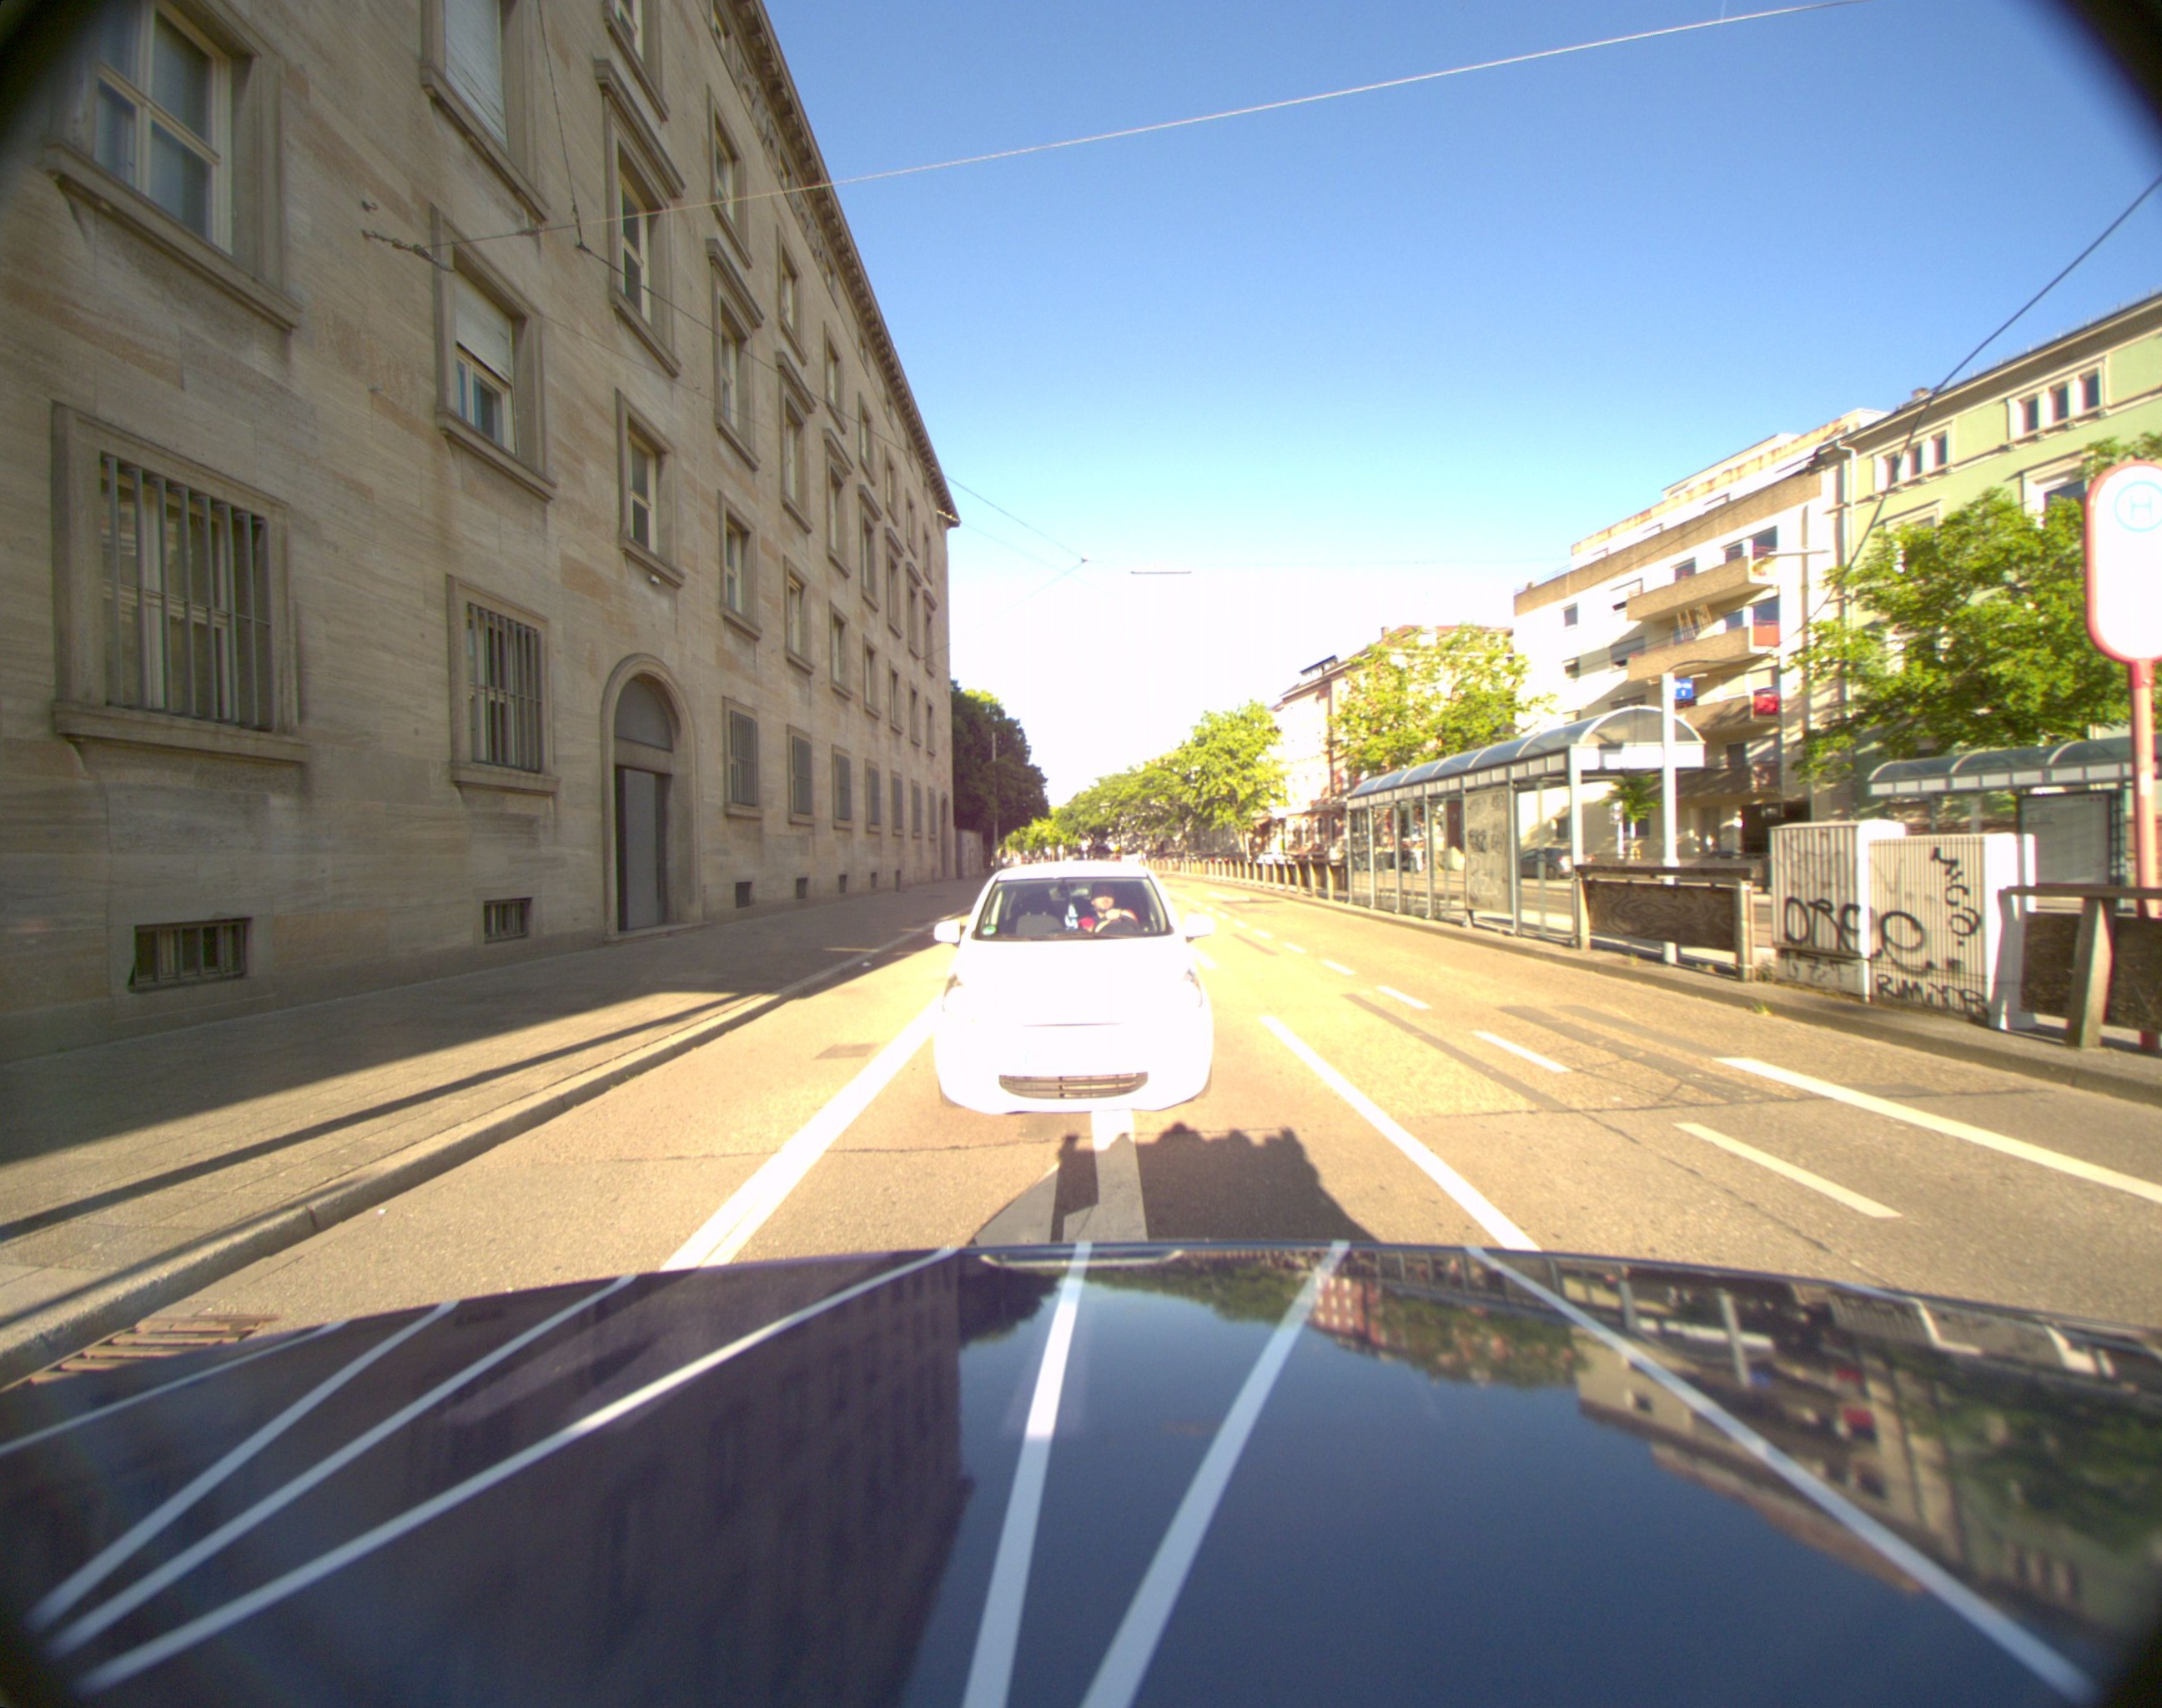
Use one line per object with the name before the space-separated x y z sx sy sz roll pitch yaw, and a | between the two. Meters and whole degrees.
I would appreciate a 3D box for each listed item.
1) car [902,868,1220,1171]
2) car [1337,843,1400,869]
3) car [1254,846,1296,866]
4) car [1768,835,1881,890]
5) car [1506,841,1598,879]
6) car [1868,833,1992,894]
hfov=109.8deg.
car | -0.078 0.901 5.792 1.612 1.462 3.631 -2 0 1
car | 19.537 0.127 51.707 3.599 1.558 1.630 -2 1 -7
car | 16.250 0.158 63.461 3.607 1.558 1.627 -3 1 -42
car | 23.879 0.227 24.387 3.605 1.558 1.627 -3 1 -29
car | 20.909 0.234 33.917 1.631 1.558 3.598 -2 1 -5
car | 24.458 0.233 21.875 3.605 1.558 1.627 -3 1 -29
